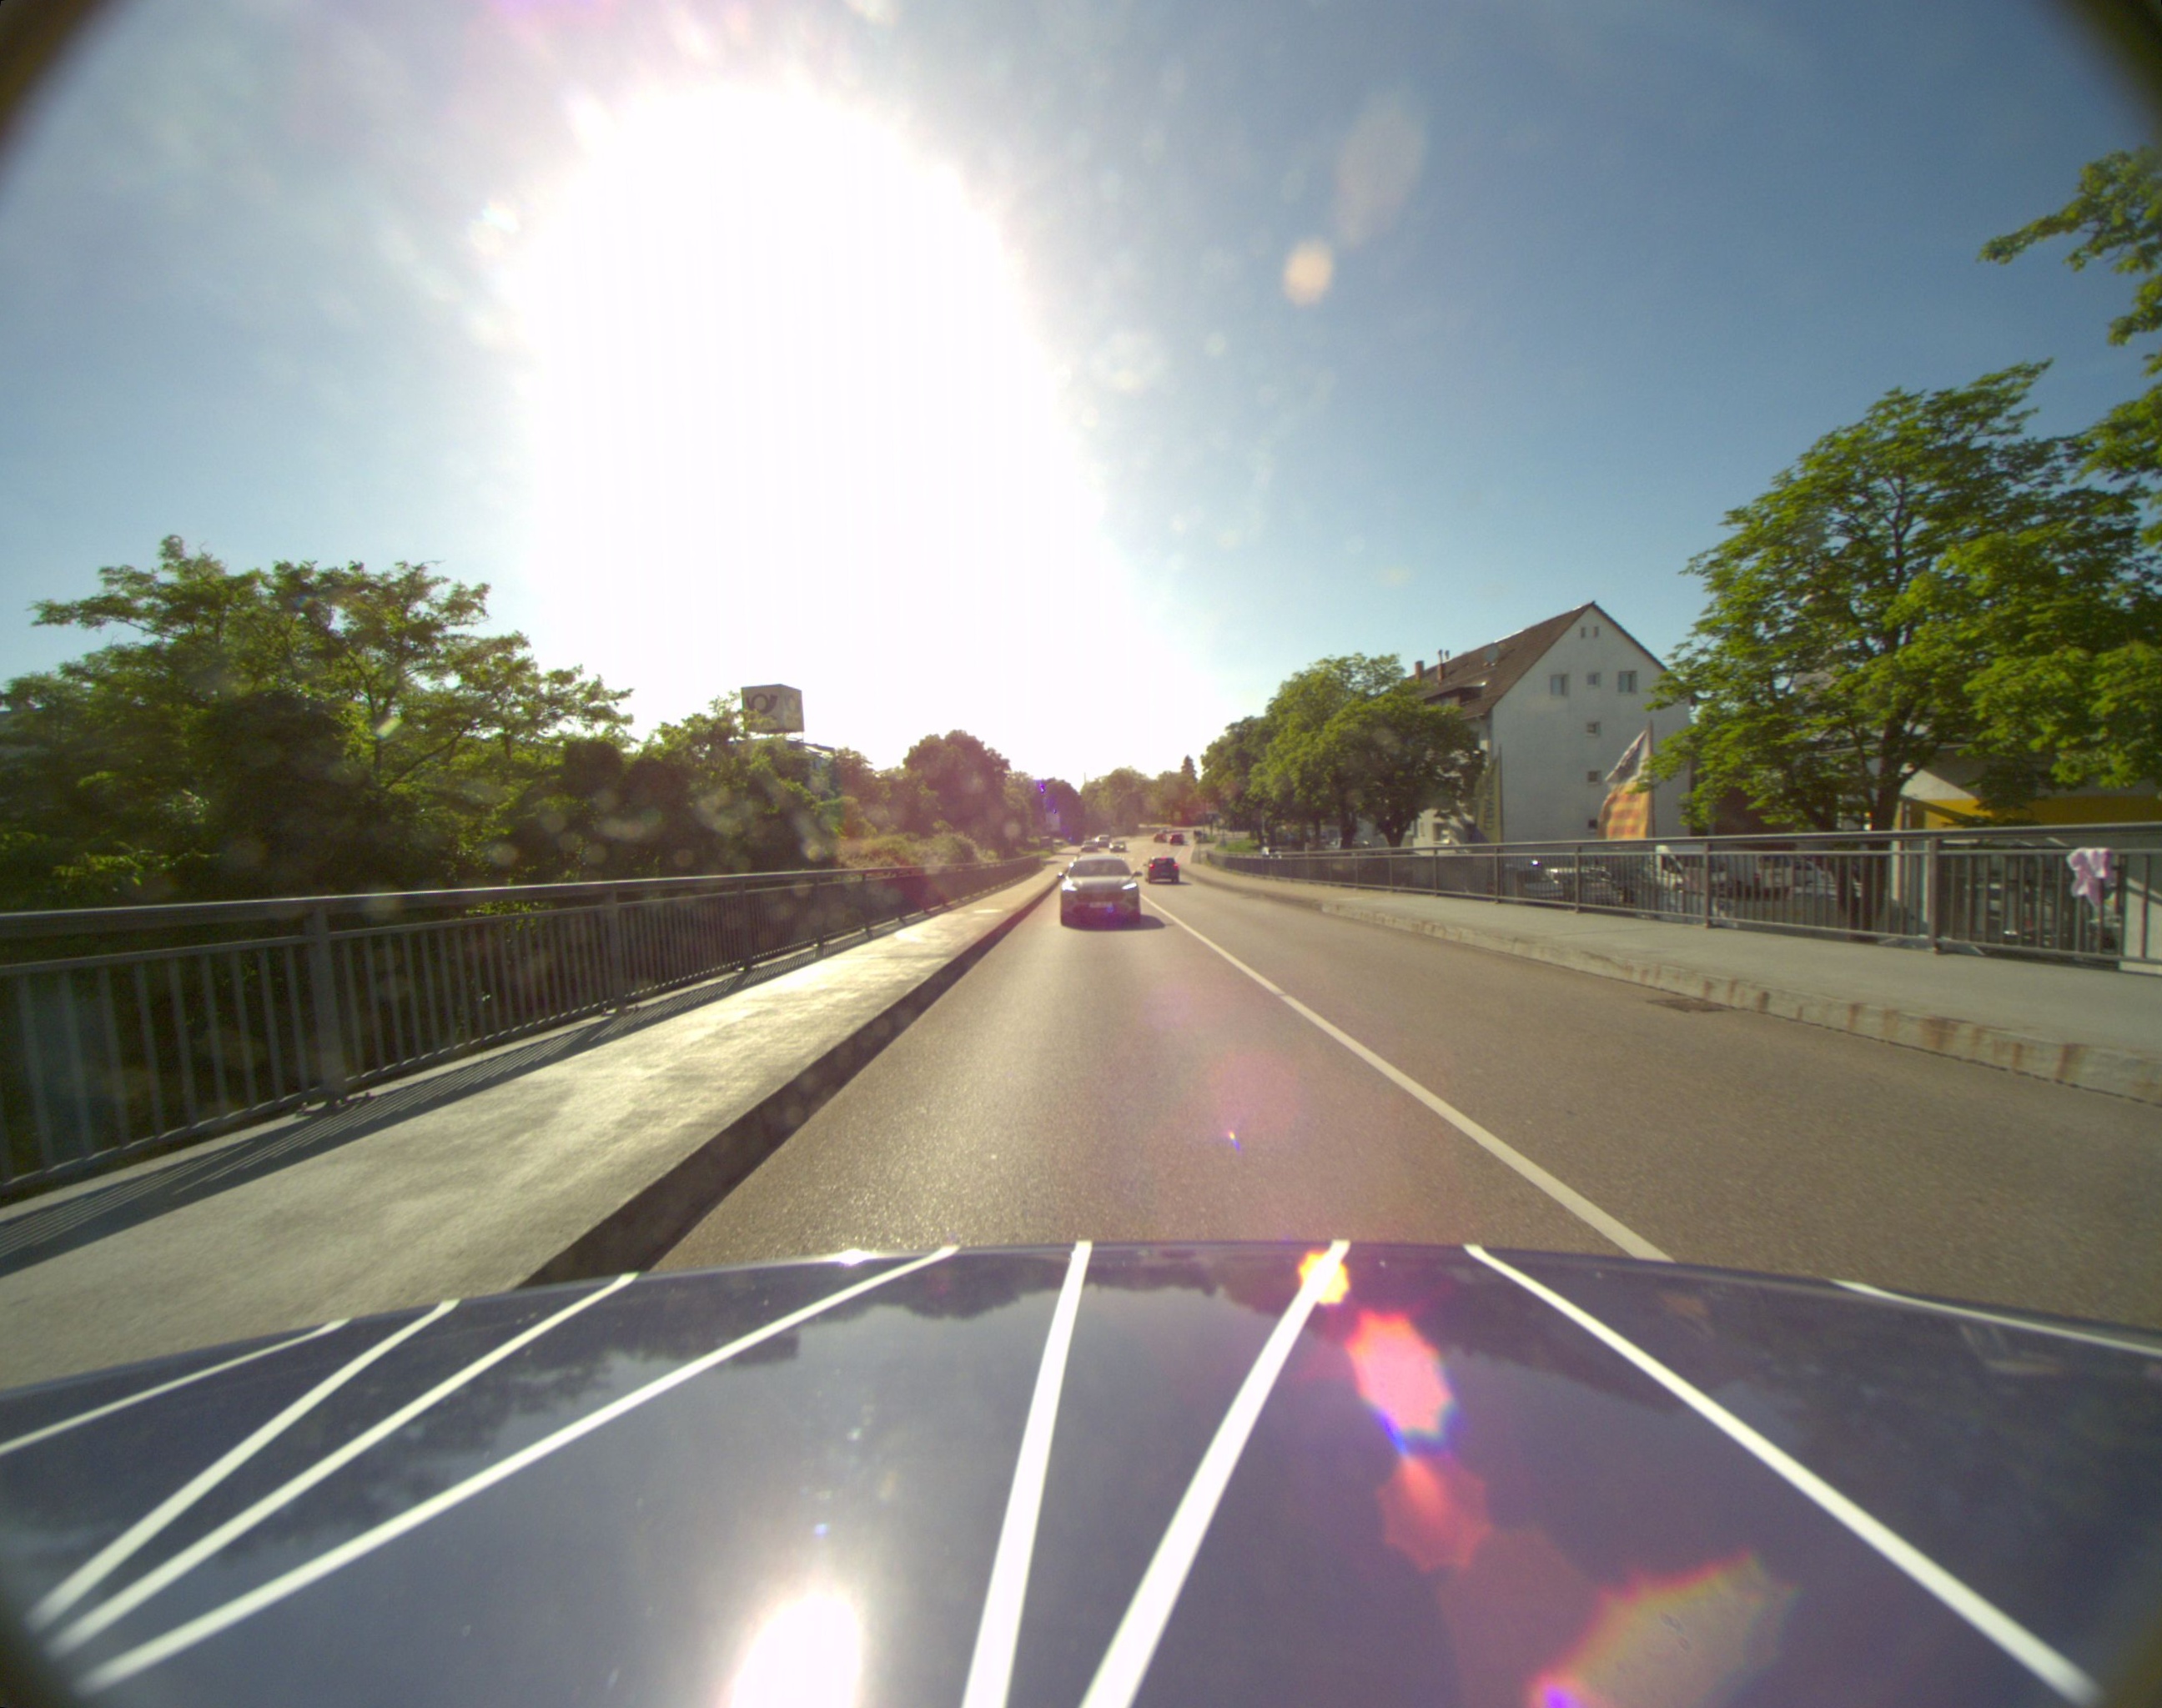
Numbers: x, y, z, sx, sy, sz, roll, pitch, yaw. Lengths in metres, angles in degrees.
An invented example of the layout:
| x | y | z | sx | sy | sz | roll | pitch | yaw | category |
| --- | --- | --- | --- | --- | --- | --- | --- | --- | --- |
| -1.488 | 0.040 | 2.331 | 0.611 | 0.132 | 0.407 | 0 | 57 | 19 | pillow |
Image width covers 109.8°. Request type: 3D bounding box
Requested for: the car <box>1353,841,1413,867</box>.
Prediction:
| x | y | z | sx | sy | sz | roll | pitch | yaw | category |
| --- | --- | --- | --- | --- | --- | --- | --- | --- | --- |
| 21.098 | -0.028 | 53.054 | 3.673 | 1.502 | 1.781 | -4 | 3 | -24 | car |

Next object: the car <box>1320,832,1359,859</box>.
| x | y | z | sx | sy | sz | roll | pitch | yaw | category |
| --- | --- | --- | --- | --- | --- | --- | --- | --- | --- |
| 21.450 | -0.754 | 63.252 | 1.751 | 1.920 | 5.101 | -3 | 3 | 4 | car |

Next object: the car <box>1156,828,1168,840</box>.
| x | y | z | sx | sy | sz | roll | pitch | yaw | category |
| --- | --- | --- | --- | --- | --- | --- | --- | --- | --- |
| 12.941 | -3.227 | 121.629 | 1.917 | 1.591 | 3.998 | -1 | 4 | 4 | car |

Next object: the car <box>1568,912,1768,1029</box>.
| x | y | z | sx | sy | sz | roll | pitch | yaw | category |
| --- | --- | --- | --- | --- | --- | --- | --- | --- | --- |
| 14.175 | 2.715 | 18.704 | 1.927 | 1.980 | 4.257 | -3 | 3 | 6 | car |

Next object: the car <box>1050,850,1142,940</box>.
| x | y | z | sx | sy | sz | roll | pitch | yaw | category |
| --- | --- | --- | --- | --- | --- | --- | --- | --- | --- |
| 0.426 | 0.794 | 17.028 | 1.714 | 1.636 | 4.055 | -3 | 1 | 4 | car |

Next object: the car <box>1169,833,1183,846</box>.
| x | y | z | sx | sy | sz | roll | pitch | yaw | category |
| --- | --- | --- | --- | --- | --- | --- | --- | --- | --- |
| 13.999 | -2.151 | 111.985 | 1.856 | 1.726 | 4.271 | -2 | 2 | 9 | car |

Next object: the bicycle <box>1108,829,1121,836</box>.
| x | y | z | sx | sy | sz | roll | pitch | yaw | category |
| --- | --- | --- | --- | --- | --- | --- | --- | --- | --- |
| 6.070 | -3.891 | 136.230 | 0.901 | 1.119 | 2.957 | -1 | 3 | 32 | bicycle |

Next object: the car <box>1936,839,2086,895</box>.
| x | y | z | sx | sy | sz | roll | pitch | yaw | category |
| --- | --- | --- | --- | --- | --- | --- | --- | --- | --- |
| 38.524 | 0.515 | 31.546 | 3.964 | 2.003 | 1.998 | -3 | 3 | -4 | car |

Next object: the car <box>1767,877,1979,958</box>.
| x | y | z | sx | sy | sz | roll | pitch | yaw | category |
| --- | --- | --- | --- | --- | --- | --- | --- | --- | --- |
| 23.497 | 1.793 | 22.786 | 1.999 | 1.841 | 3.996 | -3 | 3 | -6 | car |

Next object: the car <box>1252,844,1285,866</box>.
| x | y | z | sx | sy | sz | roll | pitch | yaw | category |
| --- | --- | --- | --- | --- | --- | --- | --- | --- | --- |
| 15.351 | 0.039 | 62.425 | 2.041 | 1.456 | 4.961 | -2 | 3 | 7 | car |

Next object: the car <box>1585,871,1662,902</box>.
| x | y | z | sx | sy | sz | roll | pitch | yaw | category |
| --- | --- | --- | --- | --- | --- | --- | --- | --- | --- |
| 24.651 | 1.465 | 34.644 | 1.301 | 1.072 | 3.043 | -1 | 4 | 1 | car |

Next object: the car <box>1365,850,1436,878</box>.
| x | y | z | sx | sy | sz | roll | pitch | yaw | category |
| --- | --- | --- | --- | --- | --- | --- | --- | --- | --- |
| 21.030 | 0.608 | 50.037 | 4.003 | 1.589 | 1.996 | -3 | 2 | -18 | car |

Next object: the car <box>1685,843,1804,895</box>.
| x | y | z | sx | sy | sz | roll | pitch | yaw | category |
| --- | --- | --- | --- | --- | --- | --- | --- | --- | --- |
| 30.364 | 0.615 | 34.953 | 1.998 | 2.003 | 3.998 | -3 | 3 | 1 | car |

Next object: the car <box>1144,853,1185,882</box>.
| x | y | z | sx | sy | sz | roll | pitch | yaw | category |
| --- | --- | --- | --- | --- | --- | --- | --- | --- | --- |
| 4.507 | 0.709 | 41.730 | 1.774 | 1.466 | 3.988 | -1 | 1 | 0 | car |

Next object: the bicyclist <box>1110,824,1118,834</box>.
| x | y | z | sx | sy | sz | roll | pitch | yaw | category |
| --- | --- | --- | --- | --- | --- | --- | --- | --- | --- |
| 5.978 | -4.473 | 136.103 | 0.890 | 1.684 | 1.192 | -1 | 3 | 32 | bicyclist |

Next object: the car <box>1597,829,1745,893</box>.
| x | y | z | sx | sy | sz | roll | pitch | yaw | category |
| --- | --- | --- | --- | --- | --- | --- | --- | --- | --- |
| 27.275 | 0.434 | 35.503 | 2.136 | 2.544 | 5.894 | 1 | -4 | -2 | car |

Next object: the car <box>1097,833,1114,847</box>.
| x | y | z | sx | sy | sz | roll | pitch | yaw | category |
| --- | --- | --- | --- | --- | --- | --- | --- | --- | --- |
| 3.642 | -2.084 | 112.104 | 1.876 | 1.713 | 4.613 | 0 | 4 | 11 | car |

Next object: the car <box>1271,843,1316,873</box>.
| x | y | z | sx | sy | sz | roll | pitch | yaw | category |
| --- | --- | --- | --- | --- | --- | --- | --- | --- | --- |
| 15.367 | 0.263 | 55.241 | 2.042 | 1.719 | 5.234 | -3 | 3 | 3 | car |

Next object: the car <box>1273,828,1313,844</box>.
| x | y | z | sx | sy | sz | roll | pitch | yaw | category |
| --- | --- | --- | --- | --- | --- | --- | --- | --- | --- |
| 24.463 | -2.115 | 87.715 | 4.001 | 1.552 | 1.997 | -4 | 3 | -12 | car |

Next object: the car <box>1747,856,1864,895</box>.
| x | y | z | sx | sy | sz | roll | pitch | yaw | category |
| --- | --- | --- | --- | --- | --- | --- | --- | --- | --- |
| 32.881 | 0.913 | 34.646 | 1.693 | 1.389 | 3.810 | -3 | 3 | 1 | car |

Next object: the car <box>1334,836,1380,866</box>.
| x | y | z | sx | sy | sz | roll | pitch | yaw | category |
| --- | --- | --- | --- | --- | --- | --- | --- | --- | --- |
| 21.062 | -0.295 | 58.261 | 2.074 | 1.920 | 4.786 | -3 | 3 | 5 | car |
